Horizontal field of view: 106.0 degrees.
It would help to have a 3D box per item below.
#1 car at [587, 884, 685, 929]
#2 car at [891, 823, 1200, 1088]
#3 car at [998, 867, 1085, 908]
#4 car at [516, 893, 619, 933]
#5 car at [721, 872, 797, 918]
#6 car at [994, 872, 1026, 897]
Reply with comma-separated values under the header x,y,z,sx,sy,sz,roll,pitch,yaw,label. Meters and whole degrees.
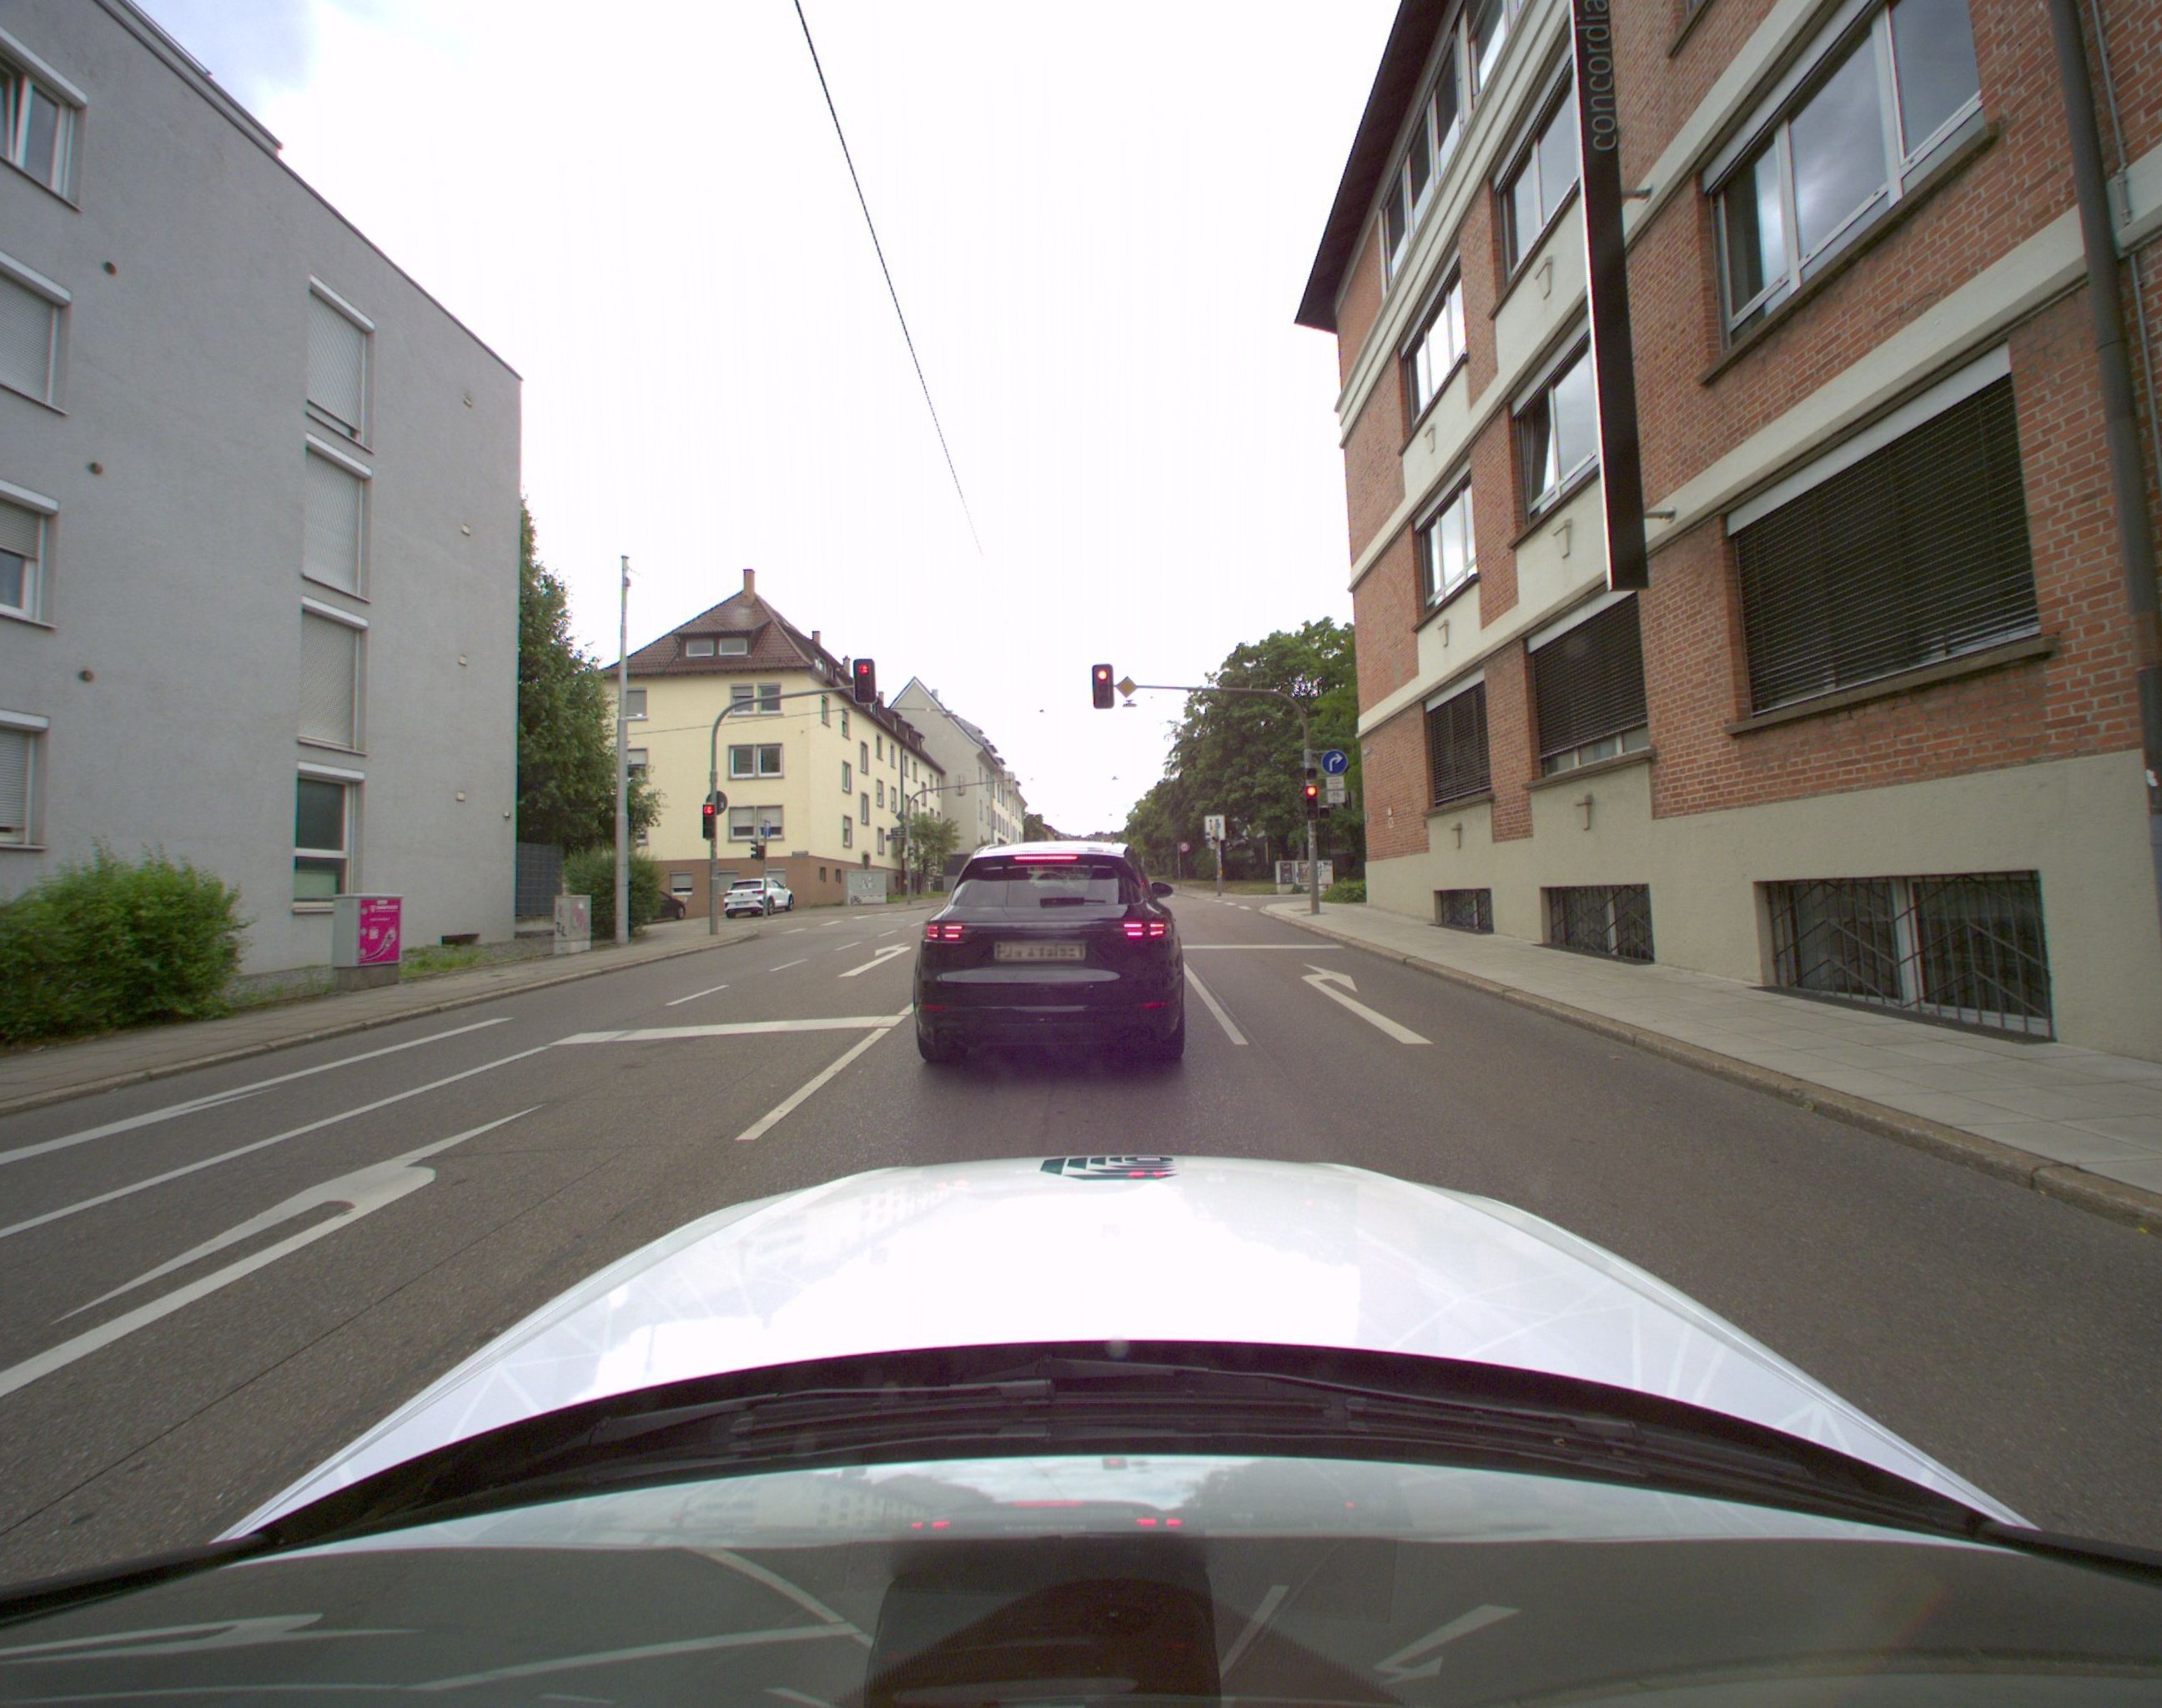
x,y,z,sx,sy,sz,roll,pitch,yaw,label
-18.641,2.150,34.314,1.664,1.546,4.103,-5,-1,2,car
-0.166,0.671,7.261,1.986,1.697,4.001,0,-1,2,car
-1.569,1.328,33.731,1.672,1.552,3.913,-1,-1,32,car
-21.326,2.409,34.031,1.663,1.362,4.001,-1,-1,2,car
-13.503,1.658,34.413,1.666,1.662,3.996,-4,0,-3,car
-4.906,2.113,56.669,1.657,1.519,3.742,-5,-1,2,car
